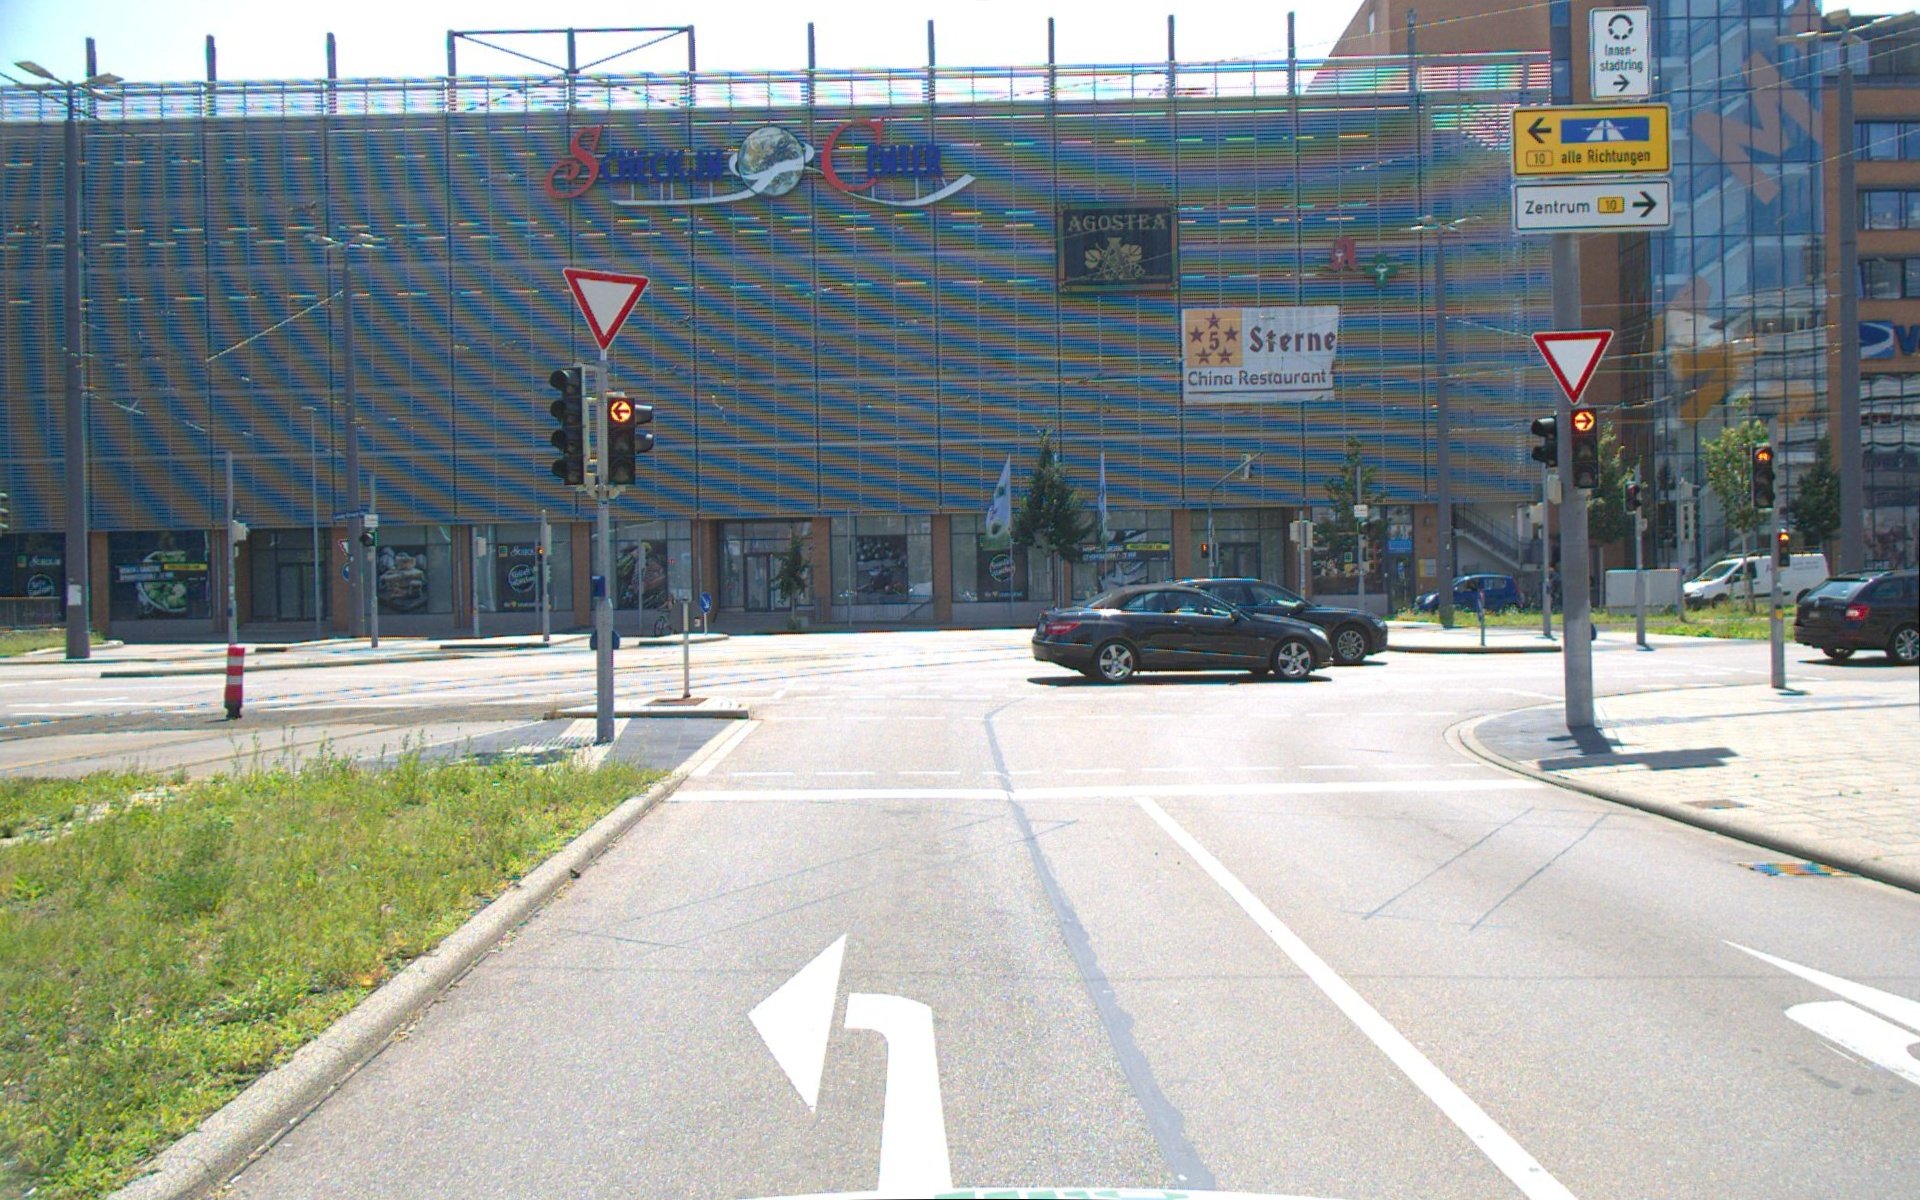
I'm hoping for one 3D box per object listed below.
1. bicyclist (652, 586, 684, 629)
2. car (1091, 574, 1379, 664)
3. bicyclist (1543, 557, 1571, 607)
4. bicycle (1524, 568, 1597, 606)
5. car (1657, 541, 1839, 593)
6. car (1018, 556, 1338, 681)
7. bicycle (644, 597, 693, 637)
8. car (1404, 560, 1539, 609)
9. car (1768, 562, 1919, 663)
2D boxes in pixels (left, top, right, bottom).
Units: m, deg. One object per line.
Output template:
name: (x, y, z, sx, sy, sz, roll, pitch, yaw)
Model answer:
bicyclist: (-11.092, 0.286, 62.902, 1.017, 1.599, 0.778, 0, 1, 6)
car: (4.724, 0.300, 28.849, 4.670, 1.486, 1.887, 0, 1, -4)
bicyclist: (24.858, -0.744, 68.870, 0.893, 2.049, 0.748, 0, 1, 1)
bicycle: (25.003, -0.552, 68.892, 2.790, 1.584, 0.705, 0, 1, 2)
car: (26.735, -1.123, 56.168, 5.358, 1.697, 1.998, 0, 1, -6)
car: (3.228, 0.245, 25.073, 4.460, 1.603, 1.998, -3, 1, -5)
bicycle: (-11.080, 0.636, 62.999, 1.039, 1.414, 3.026, 0, 1, 6)
car: (17.067, -0.532, 55.269, 3.907, 1.565, 1.880, 0, 1, -3)
car: (15.979, 0.144, 27.334, 4.441, 1.534, 1.839, -2, 1, -8)
